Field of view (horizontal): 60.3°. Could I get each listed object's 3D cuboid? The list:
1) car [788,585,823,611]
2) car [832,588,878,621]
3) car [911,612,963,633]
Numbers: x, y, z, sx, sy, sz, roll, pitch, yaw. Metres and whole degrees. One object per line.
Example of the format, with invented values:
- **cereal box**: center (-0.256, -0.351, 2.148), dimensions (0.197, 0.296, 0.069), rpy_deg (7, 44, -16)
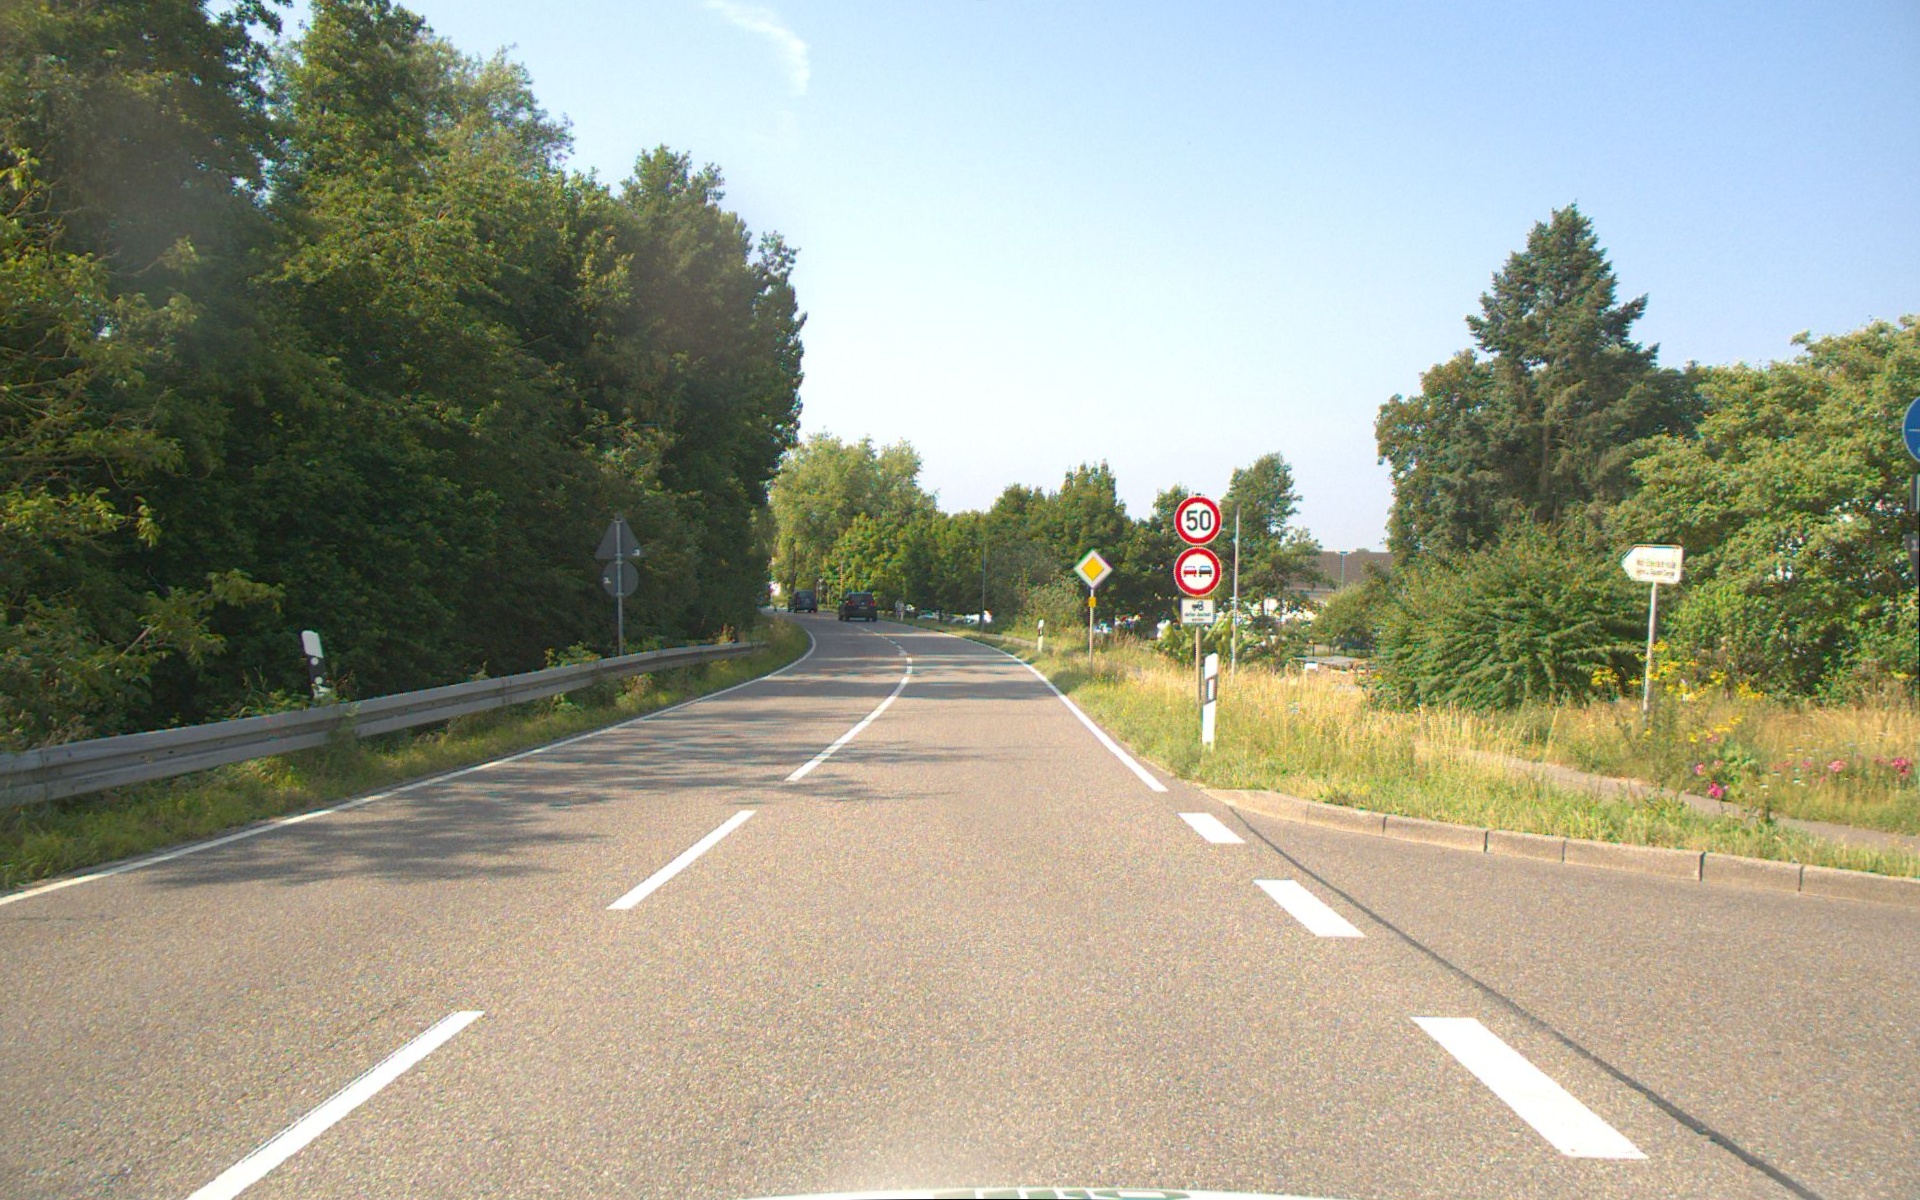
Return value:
- **car**: center (-11.552, -0.146, 123.278), dimensions (1.970, 1.802, 3.986), rpy_deg (2, 1, -14)
- **car**: center (-6.267, 0.246, 98.470), dimensions (1.894, 1.802, 3.984), rpy_deg (2, 1, -16)
- **car**: center (-1.985, 1.931, 141.701), dimensions (4.158, 1.709, 1.886), rpy_deg (1, 0, -11)
